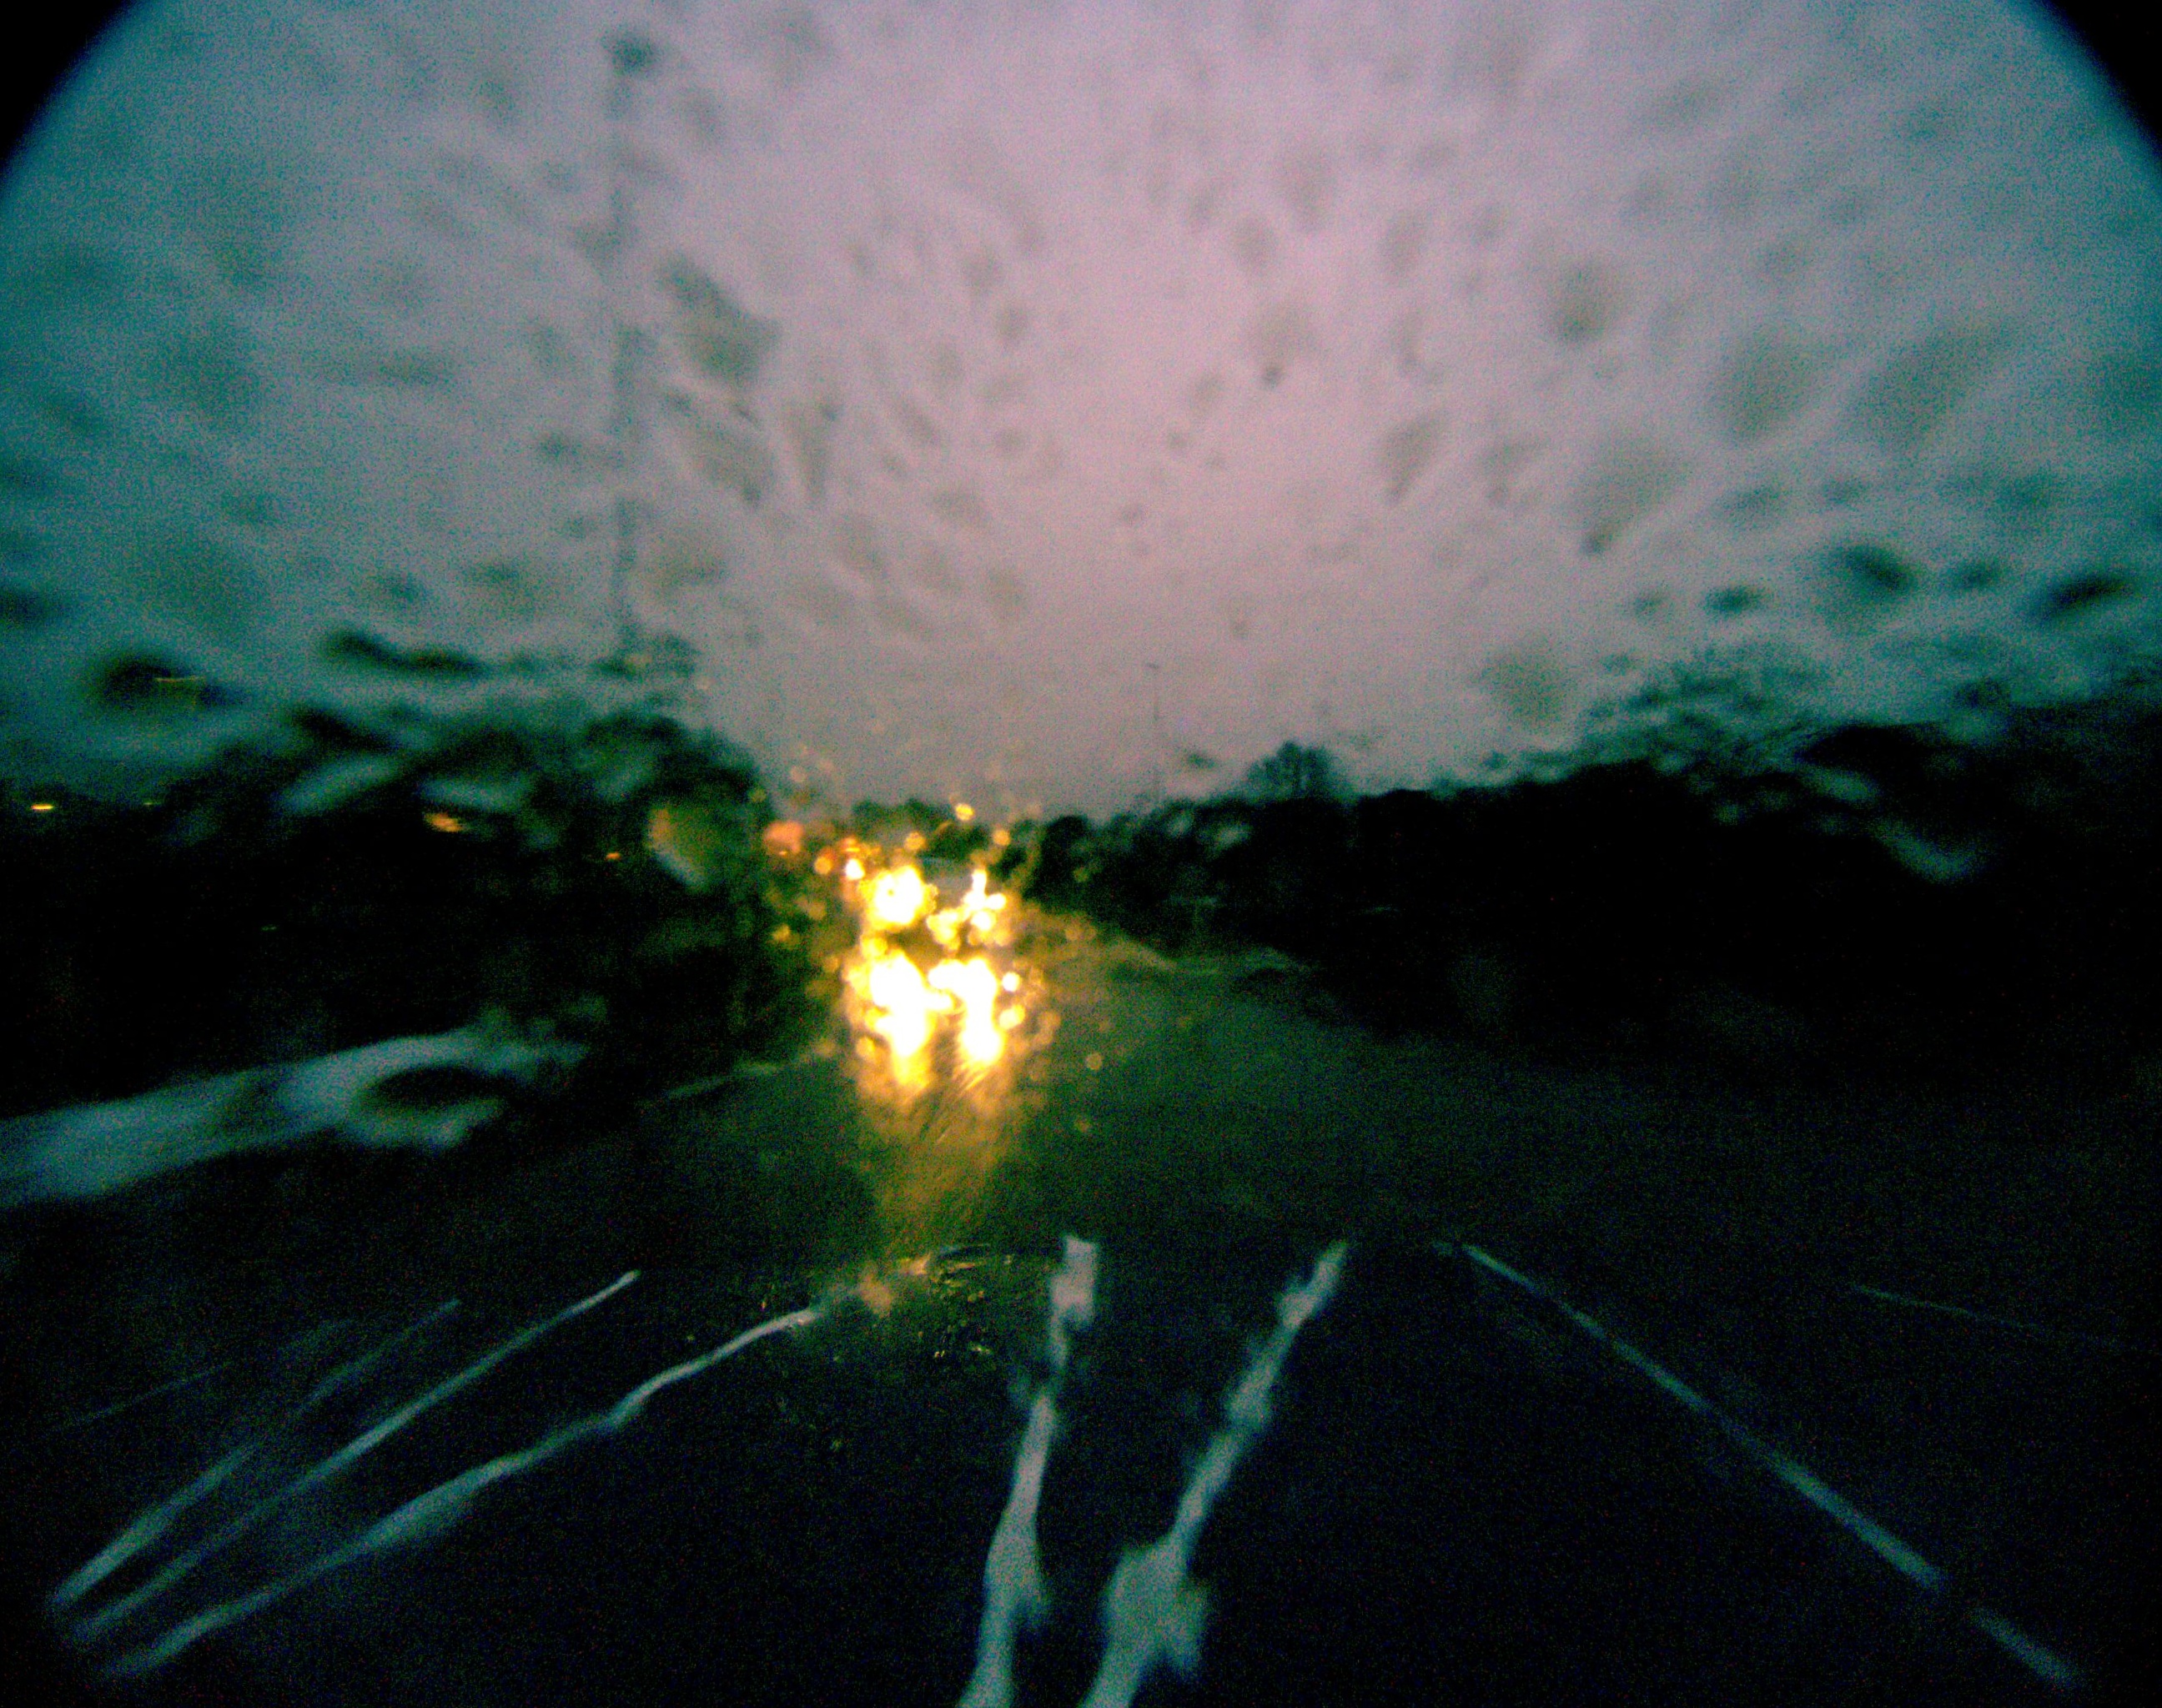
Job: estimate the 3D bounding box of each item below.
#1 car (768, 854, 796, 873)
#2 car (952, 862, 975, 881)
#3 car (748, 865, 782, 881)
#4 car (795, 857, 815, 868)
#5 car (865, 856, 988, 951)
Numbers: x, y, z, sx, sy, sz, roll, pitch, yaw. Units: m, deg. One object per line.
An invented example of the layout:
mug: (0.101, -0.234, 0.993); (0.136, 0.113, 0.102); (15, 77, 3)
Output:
car: (-40.306, 1.279, 102.308); (2.285, 2.426, 5.225); (1, 1, -36)
car: (-9.992, 1.473, 64.611); (1.613, 1.461, 3.681); (0, 0, -13)
car: (-32.462, 1.926, 78.189); (1.772, 1.421, 3.811); (1, 1, 1)
car: (-39.554, 1.249, 108.855); (1.718, 1.404, 4.003); (1, 1, -33)
car: (-3.335, 0.884, 15.790); (1.813, 1.453, 4.236); (-2, 3, -21)
